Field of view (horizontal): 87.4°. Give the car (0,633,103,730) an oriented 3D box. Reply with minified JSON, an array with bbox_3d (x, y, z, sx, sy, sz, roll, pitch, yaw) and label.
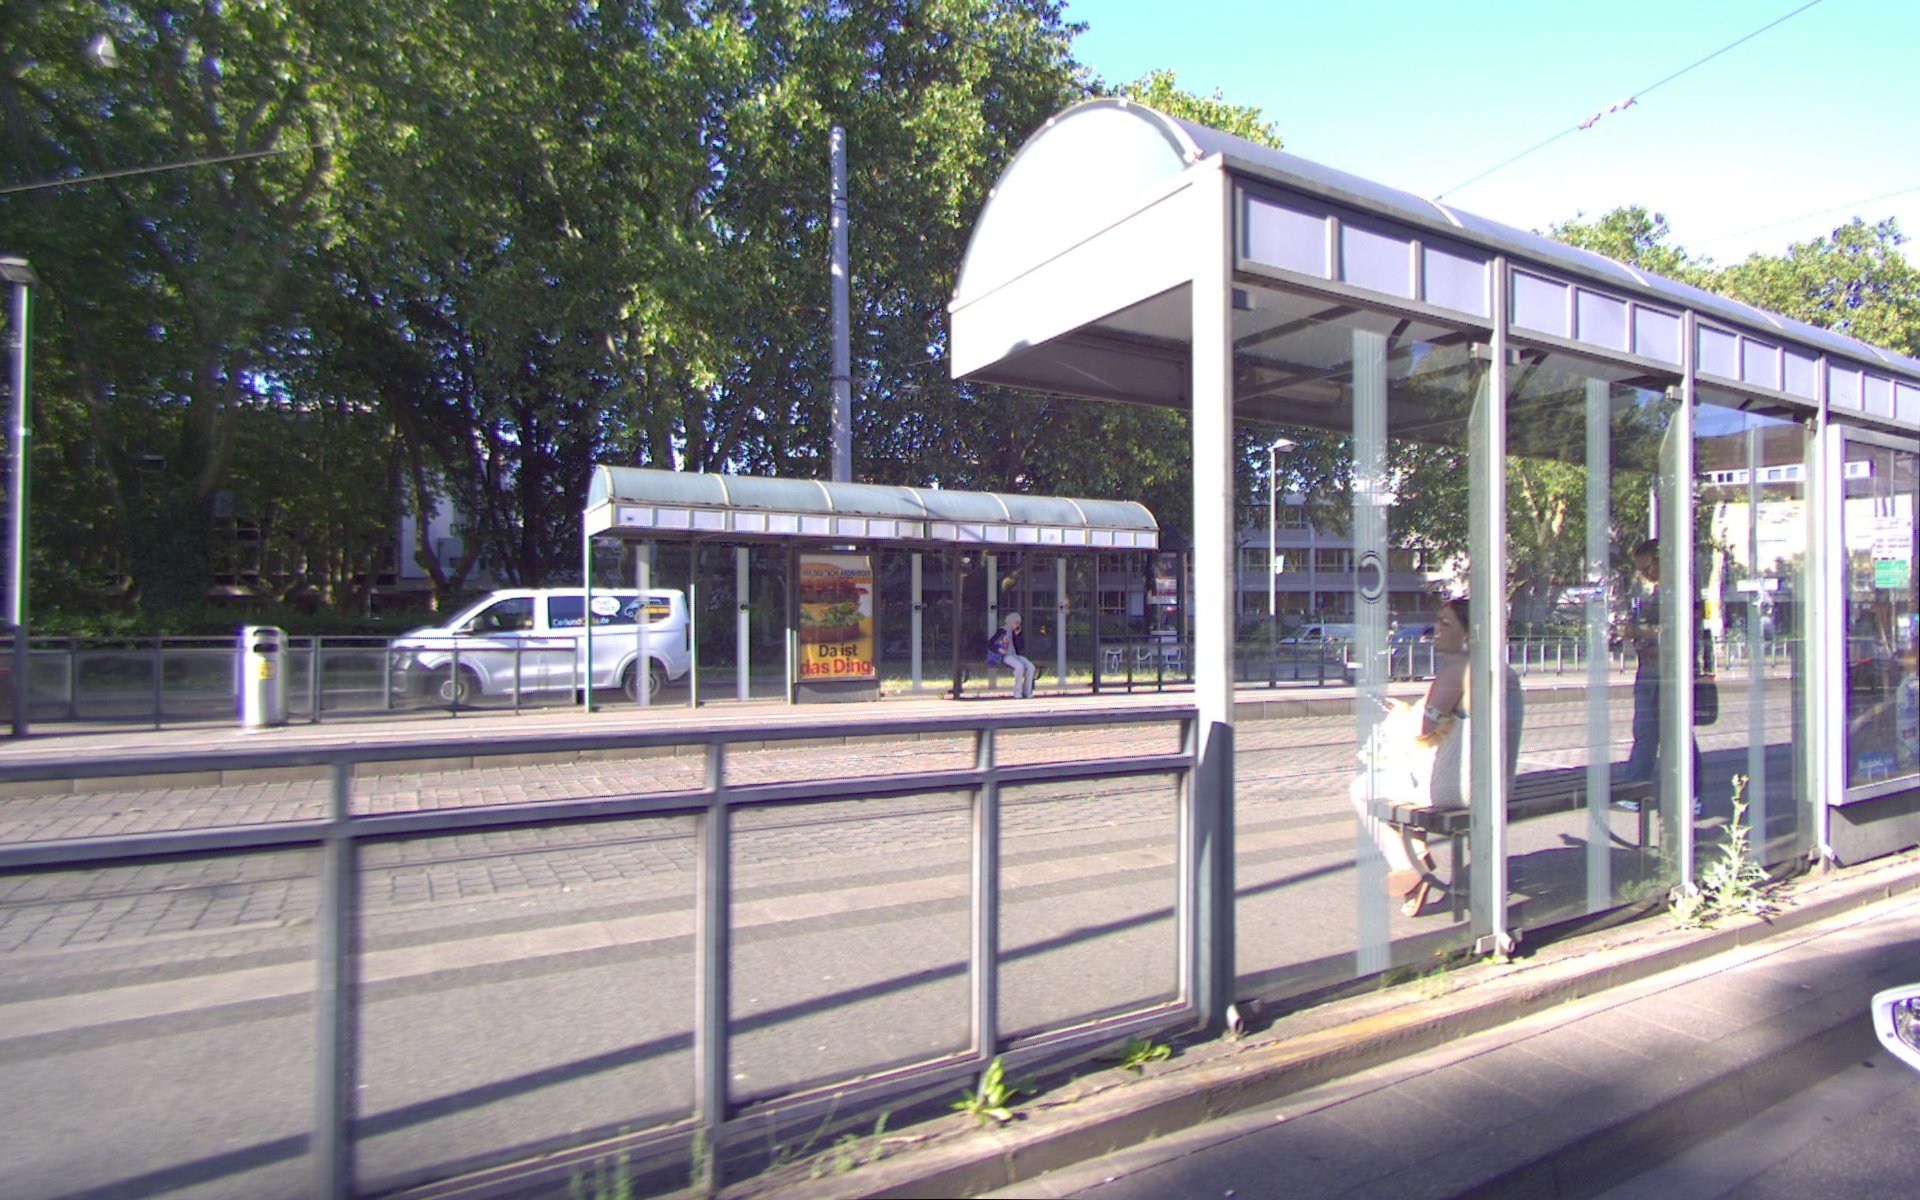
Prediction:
[{"bbox_3d":[-14.609,1.103,13.627,4.267,1.309,1.761,2,-3,-32],"label":"car"}]

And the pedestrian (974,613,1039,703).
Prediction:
[{"bbox_3d":[0.712,0.897,15.562,0.748,1.342,0.666,1,-4,-32],"label":"pedestrian"}]

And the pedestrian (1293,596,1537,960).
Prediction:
[{"bbox_3d":[1.839,0.653,4.101,0.586,1.326,0.675,1,0,-29],"label":"pedestrian"}]

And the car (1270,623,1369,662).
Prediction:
[{"bbox_3d":[22.875,2.698,64.041,5.616,2.366,2.156,1,-1,-7],"label":"car"}]

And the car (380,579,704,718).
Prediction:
[{"bbox_3d":[-7.342,0.869,17.836,5.033,2.152,2.056,2,-3,-32],"label":"car"}]

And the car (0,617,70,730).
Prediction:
[{"bbox_3d":[-14.949,0.981,13.407,4.293,1.530,1.785,2,-3,-32],"label":"car"}]

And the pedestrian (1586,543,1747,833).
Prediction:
[{"bbox_3d":[4.412,0.523,6.291,0.581,1.700,0.593,1,0,-25],"label":"pedestrian"}]
